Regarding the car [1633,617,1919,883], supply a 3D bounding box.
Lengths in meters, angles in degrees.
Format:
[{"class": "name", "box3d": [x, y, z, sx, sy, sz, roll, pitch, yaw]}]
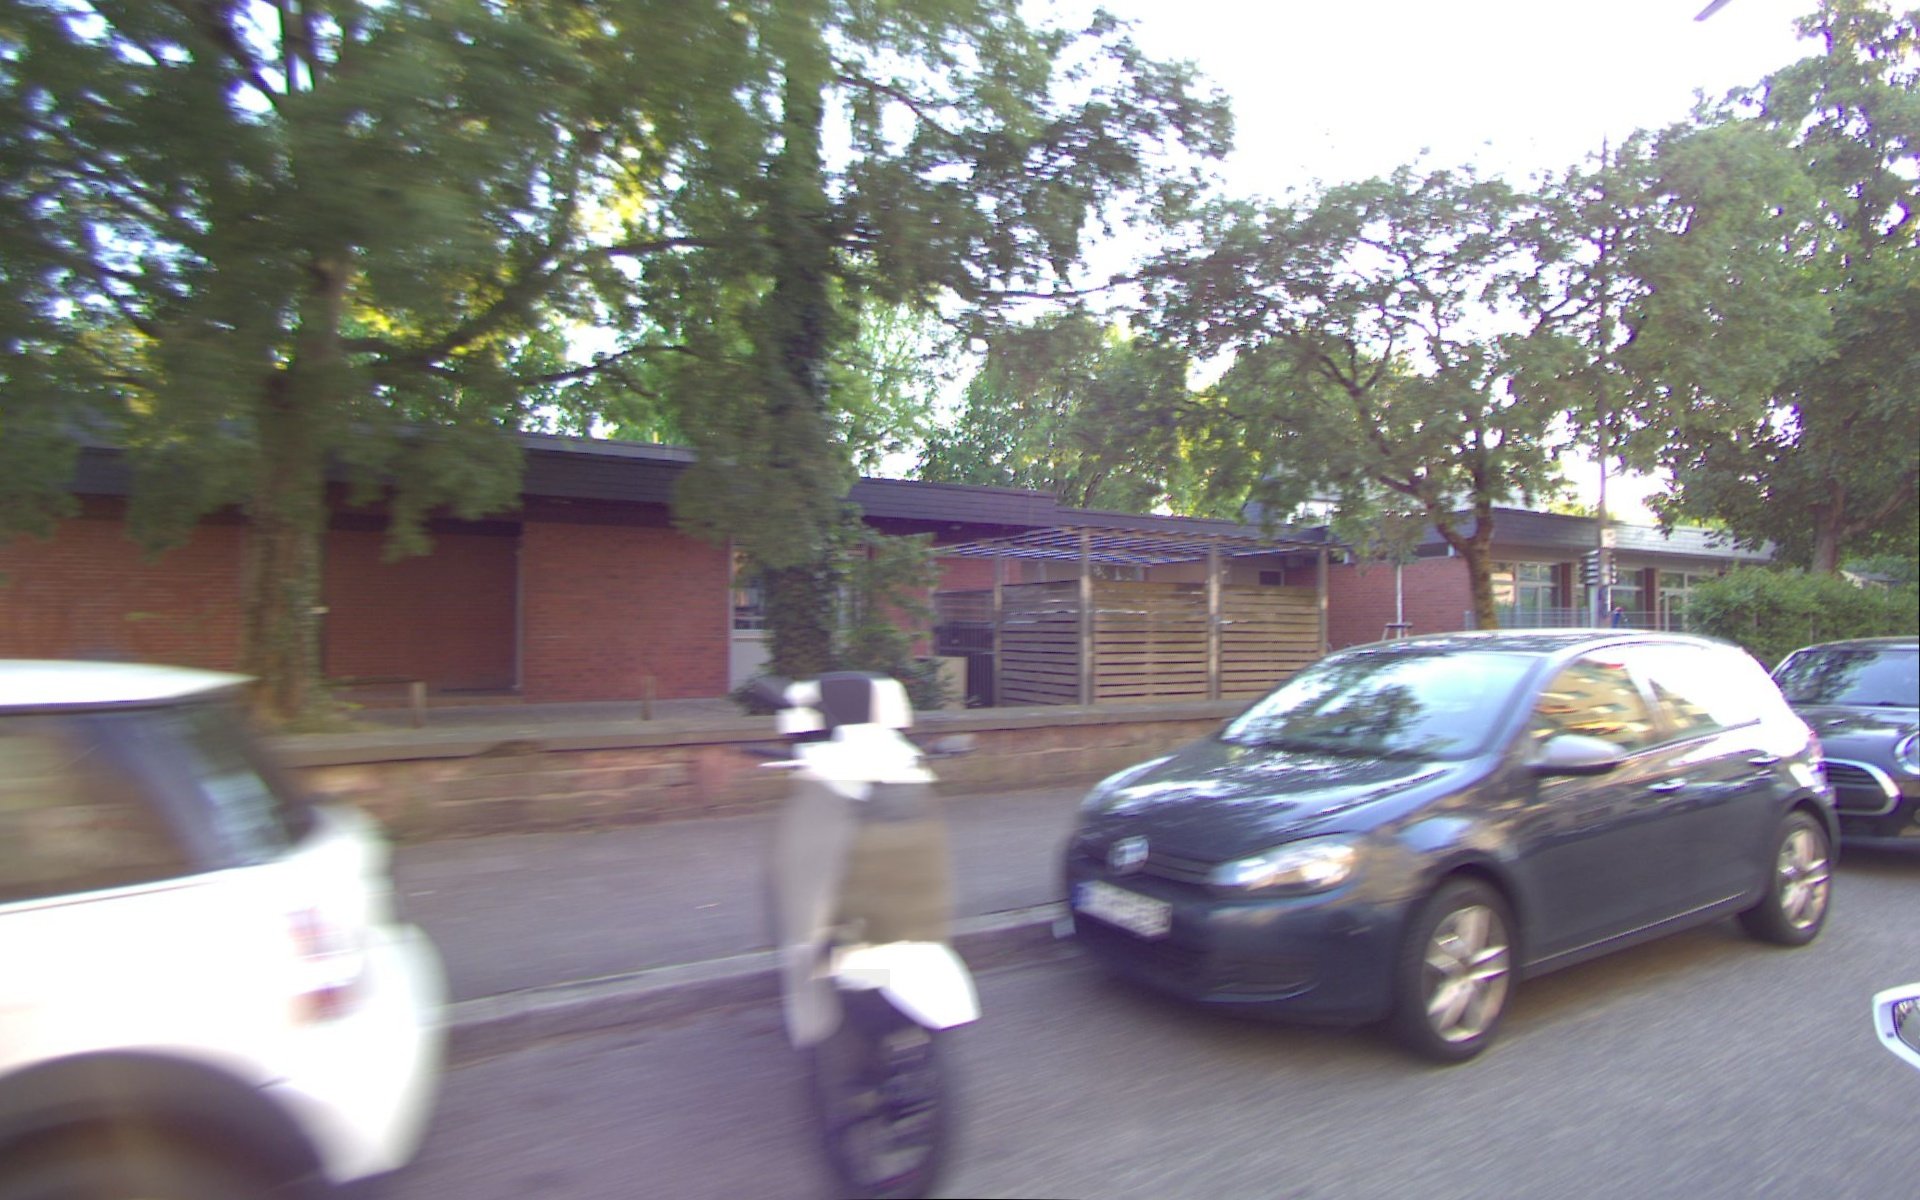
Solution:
[{"class": "car", "box3d": [6.811, 0.902, 7.203, 3.943, 1.497, 1.631, 1, -3, -29]}]

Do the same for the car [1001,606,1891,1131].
[{"class": "car", "box3d": [2.459, 0.844, 4.776, 4.310, 1.516, 1.707, 1, -3, -31]}]

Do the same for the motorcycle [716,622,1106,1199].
[{"class": "motorcycle", "box3d": [-0.345, 0.753, 3.333, 0.865, 1.321, 2.165, 1, -1, -14]}]

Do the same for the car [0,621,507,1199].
[{"class": "car", "box3d": [-2.909, 0.796, 1.715, 3.760, 1.450, 1.594, 1, -4, -31]}]
